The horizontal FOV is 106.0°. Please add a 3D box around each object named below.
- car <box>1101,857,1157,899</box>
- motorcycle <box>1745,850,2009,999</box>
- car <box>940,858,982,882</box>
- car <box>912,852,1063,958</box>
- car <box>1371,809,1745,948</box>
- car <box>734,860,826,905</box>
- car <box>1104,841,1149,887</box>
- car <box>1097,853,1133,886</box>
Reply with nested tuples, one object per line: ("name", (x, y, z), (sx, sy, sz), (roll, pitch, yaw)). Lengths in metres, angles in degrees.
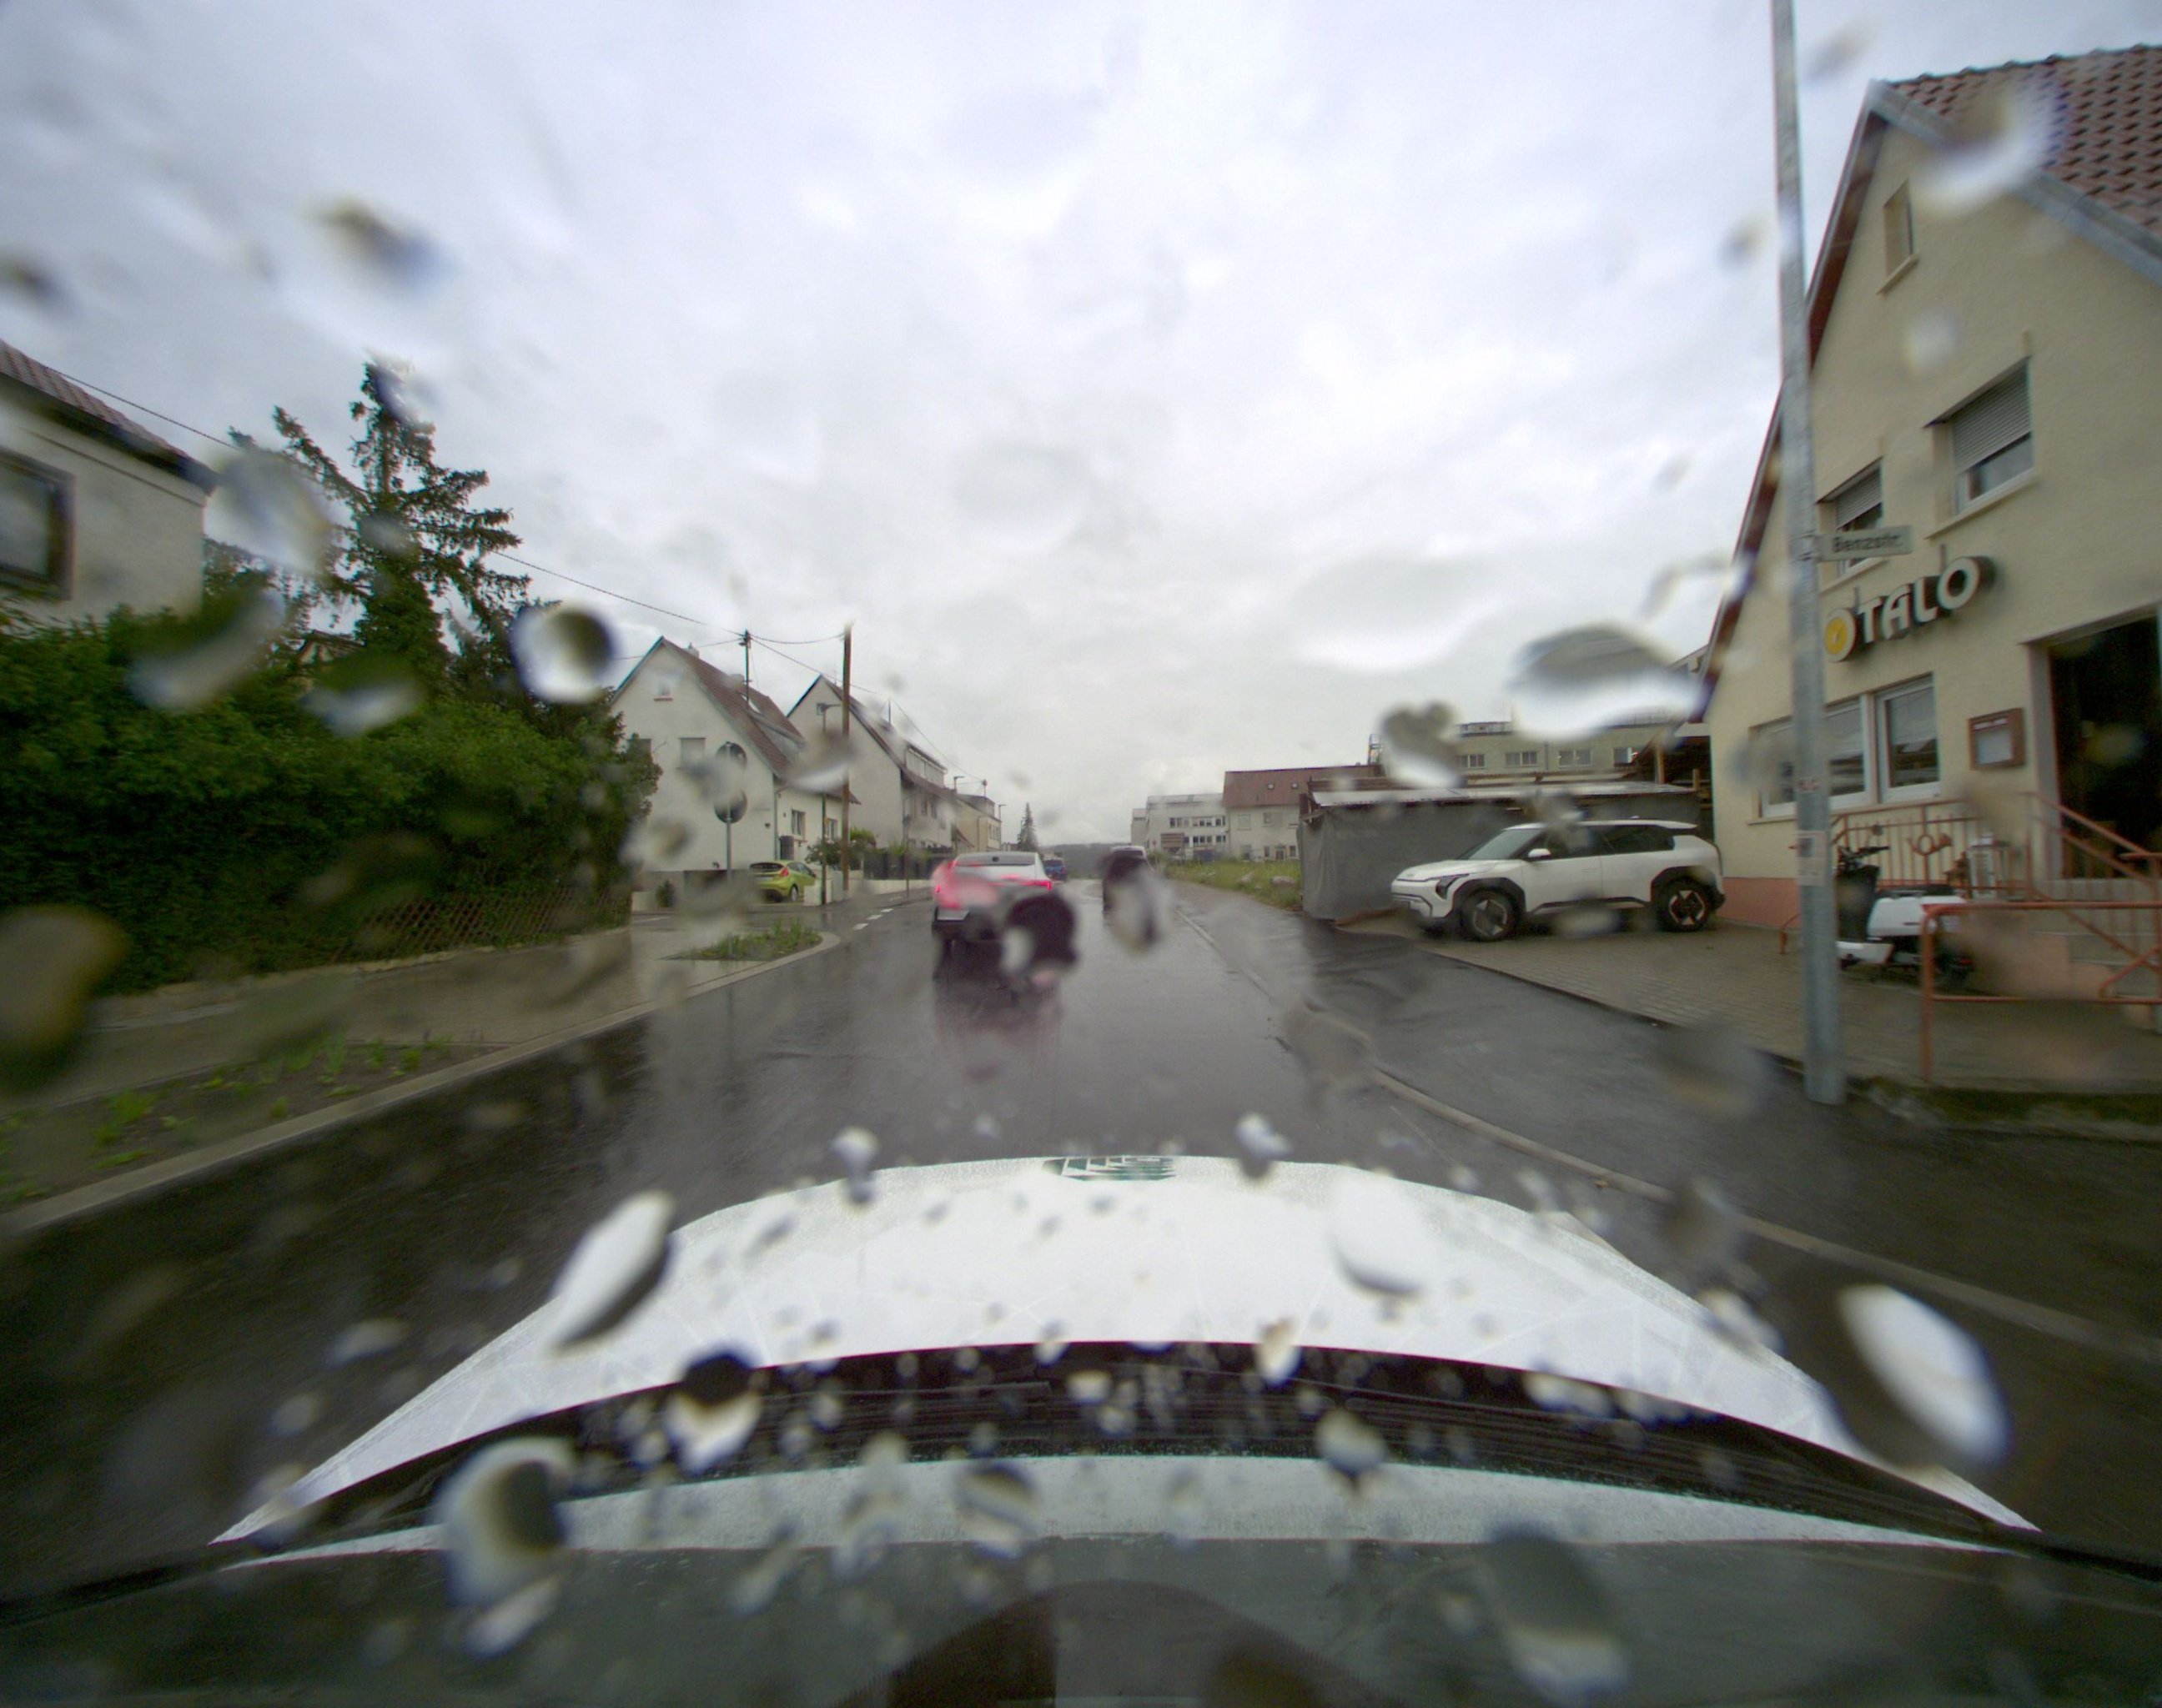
("car", (1.567, 0.780, 27.883), (1.762, 1.336, 4.322), (0, -1, 1))
("motorcycle", (6.703, 0.514, 7.022), (0.485, 1.096, 2.004), (-1, 0, 6))
("car", (-8.298, 1.096, 56.792), (1.986, 1.510, 4.897), (2, -1, 2))
("car", (-1.409, 0.767, 14.104), (1.987, 1.502, 4.670), (-1, -1, 1))
("car", (6.613, 0.340, 11.651), (4.203, 1.610, 1.860), (-3, -1, 0))
("car", (-10.363, 0.981, 28.281), (1.771, 1.467, 3.458), (-1, -2, 2))
("car", (1.877, 0.442, 34.630), (1.762, 1.825, 4.575), (0, -1, 1))
("car", (1.648, 0.749, 41.054), (1.637, 1.575, 4.642), (0, -1, 0))
